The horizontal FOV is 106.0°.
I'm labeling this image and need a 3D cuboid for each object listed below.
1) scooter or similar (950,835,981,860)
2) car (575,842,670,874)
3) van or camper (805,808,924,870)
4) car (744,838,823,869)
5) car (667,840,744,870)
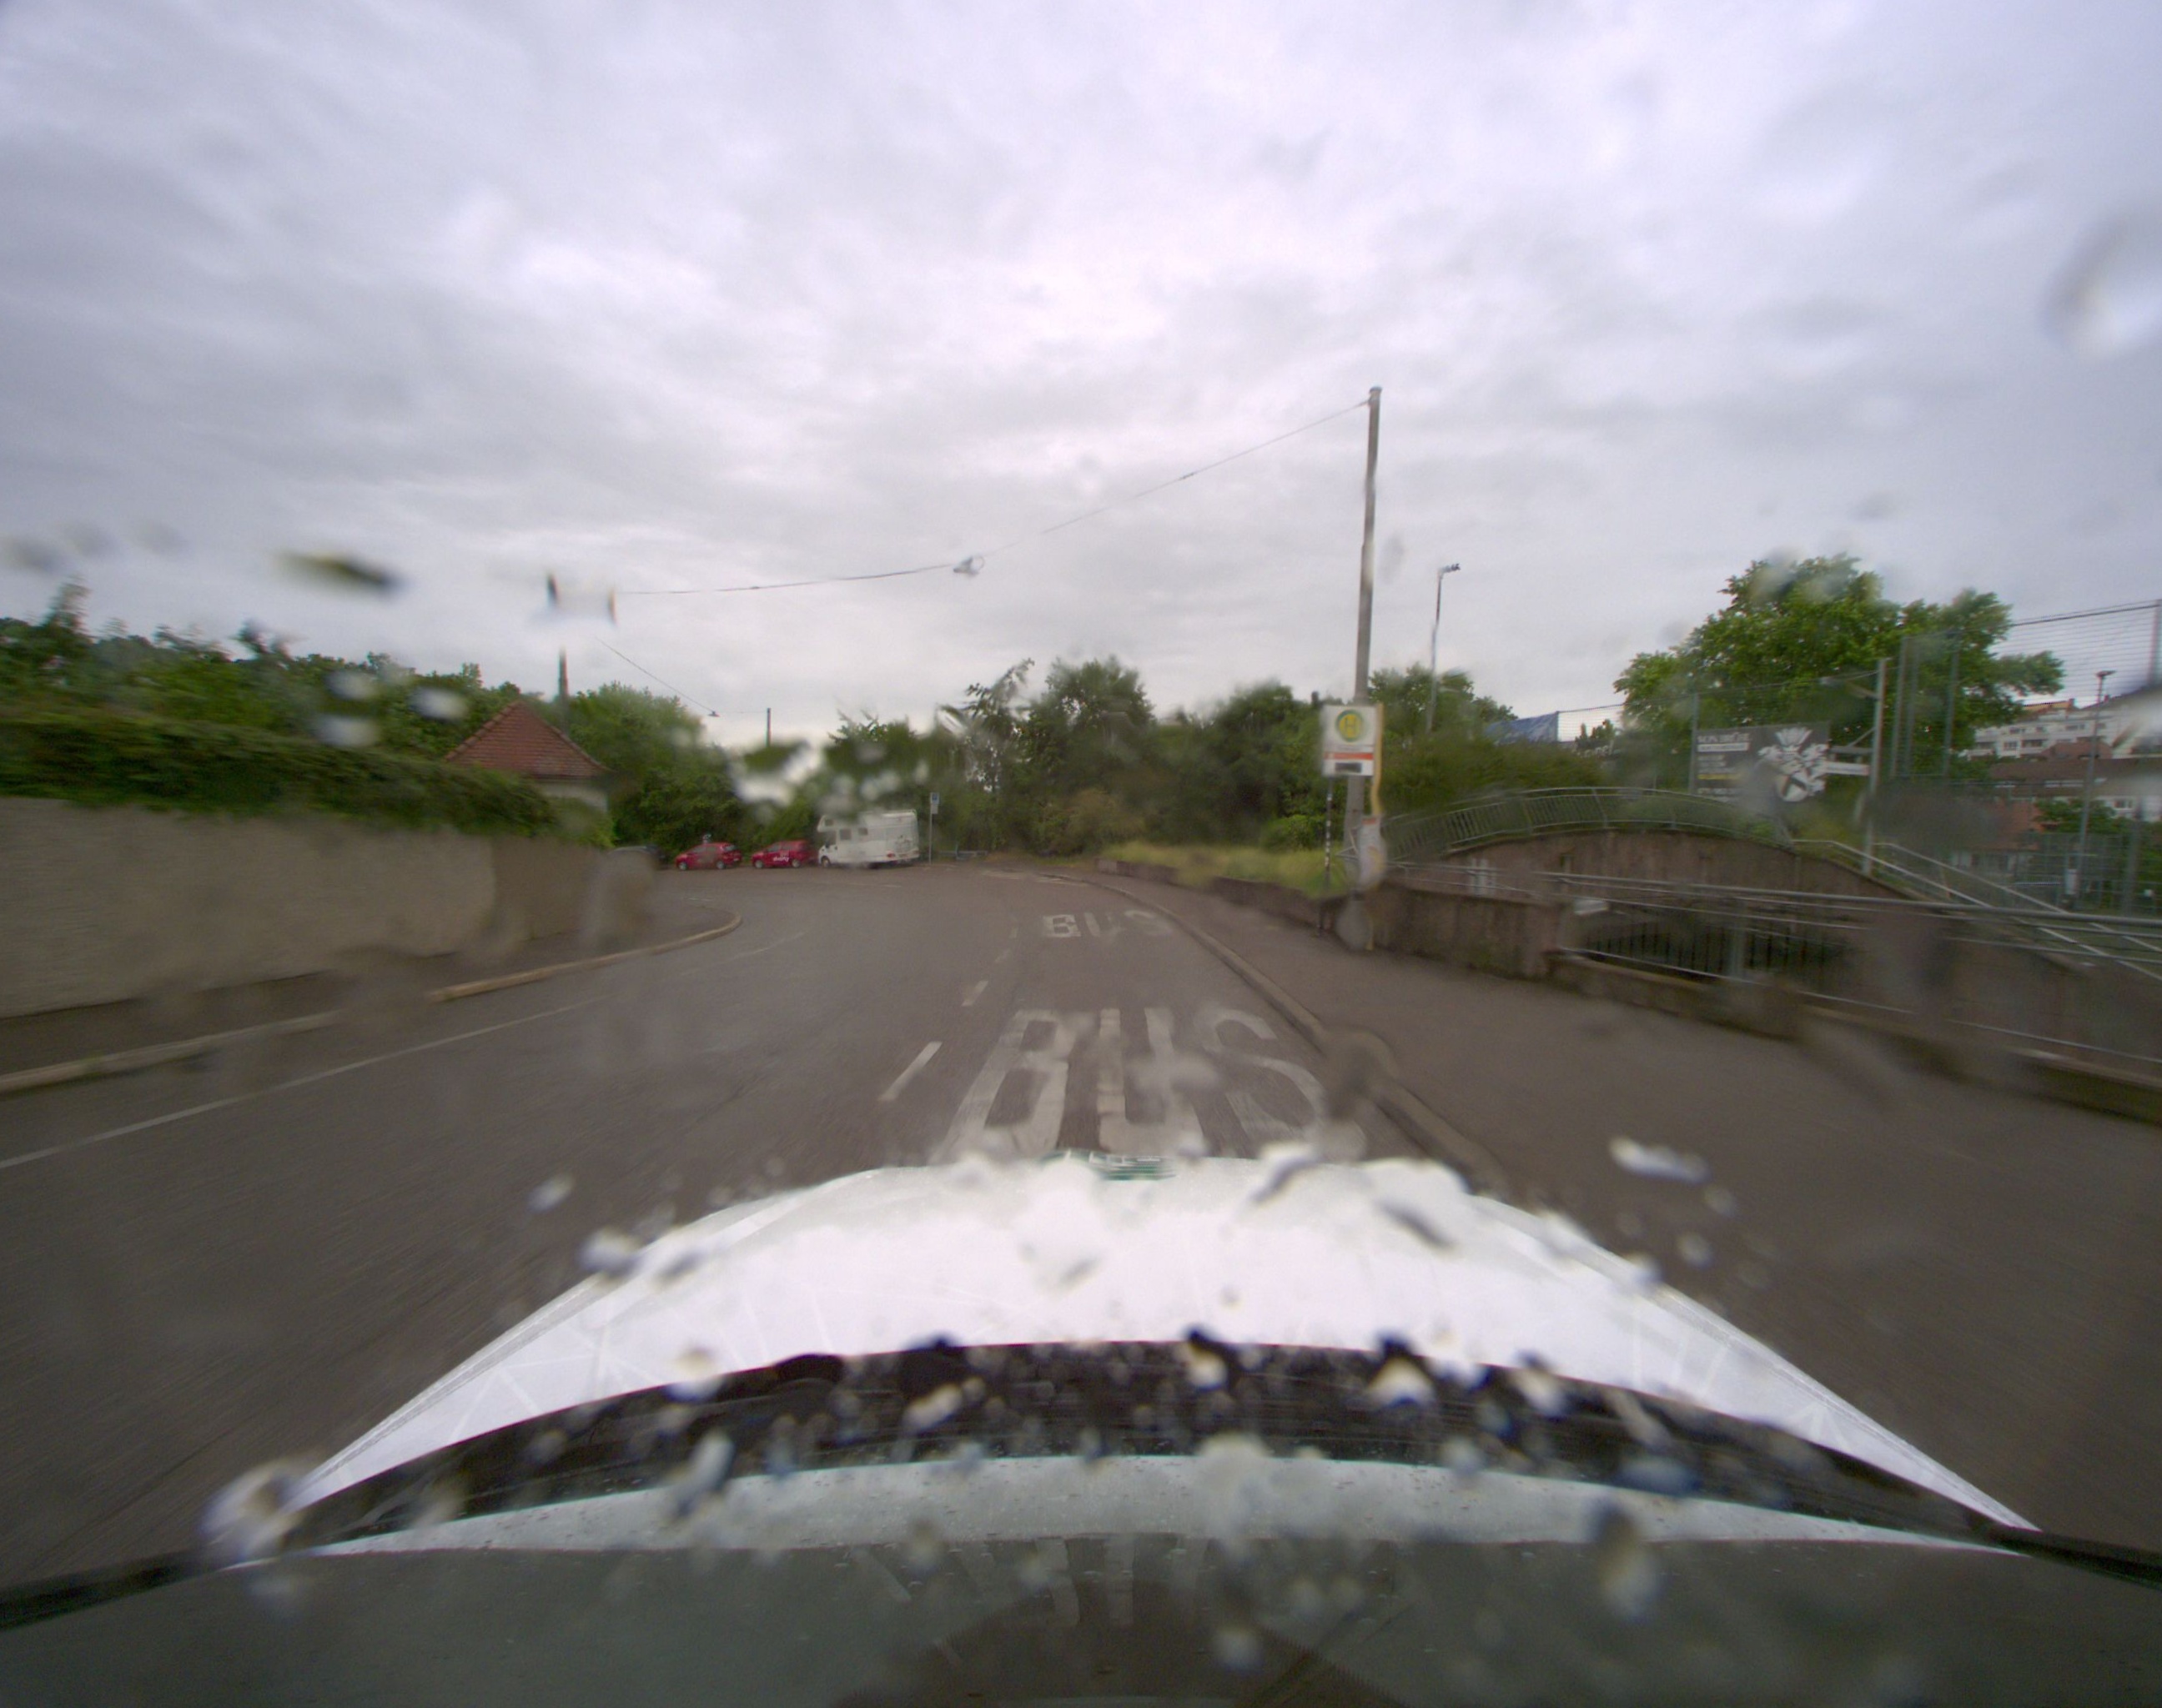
[{"bbox_3d":[-6.096,-0.333,43.098,1.687,1.282,0.455,-1,3,34],"label":"scooter or similar"},{"bbox_3d":[-27.029,0.218,48.104,4.558,1.512,1.727,-2,6,5],"label":"car"},{"bbox_3d":[-11.637,-0.826,43.669,6.200,2.942,2.414,0,6,33],"label":"van or camper"},{"bbox_3d":[-16.854,-0.033,46.202,3.767,1.460,1.653,-2,6,13],"label":"car"},{"bbox_3d":[-21.821,0.061,47.371,3.642,1.512,1.568,-1,6,8],"label":"car"}]
